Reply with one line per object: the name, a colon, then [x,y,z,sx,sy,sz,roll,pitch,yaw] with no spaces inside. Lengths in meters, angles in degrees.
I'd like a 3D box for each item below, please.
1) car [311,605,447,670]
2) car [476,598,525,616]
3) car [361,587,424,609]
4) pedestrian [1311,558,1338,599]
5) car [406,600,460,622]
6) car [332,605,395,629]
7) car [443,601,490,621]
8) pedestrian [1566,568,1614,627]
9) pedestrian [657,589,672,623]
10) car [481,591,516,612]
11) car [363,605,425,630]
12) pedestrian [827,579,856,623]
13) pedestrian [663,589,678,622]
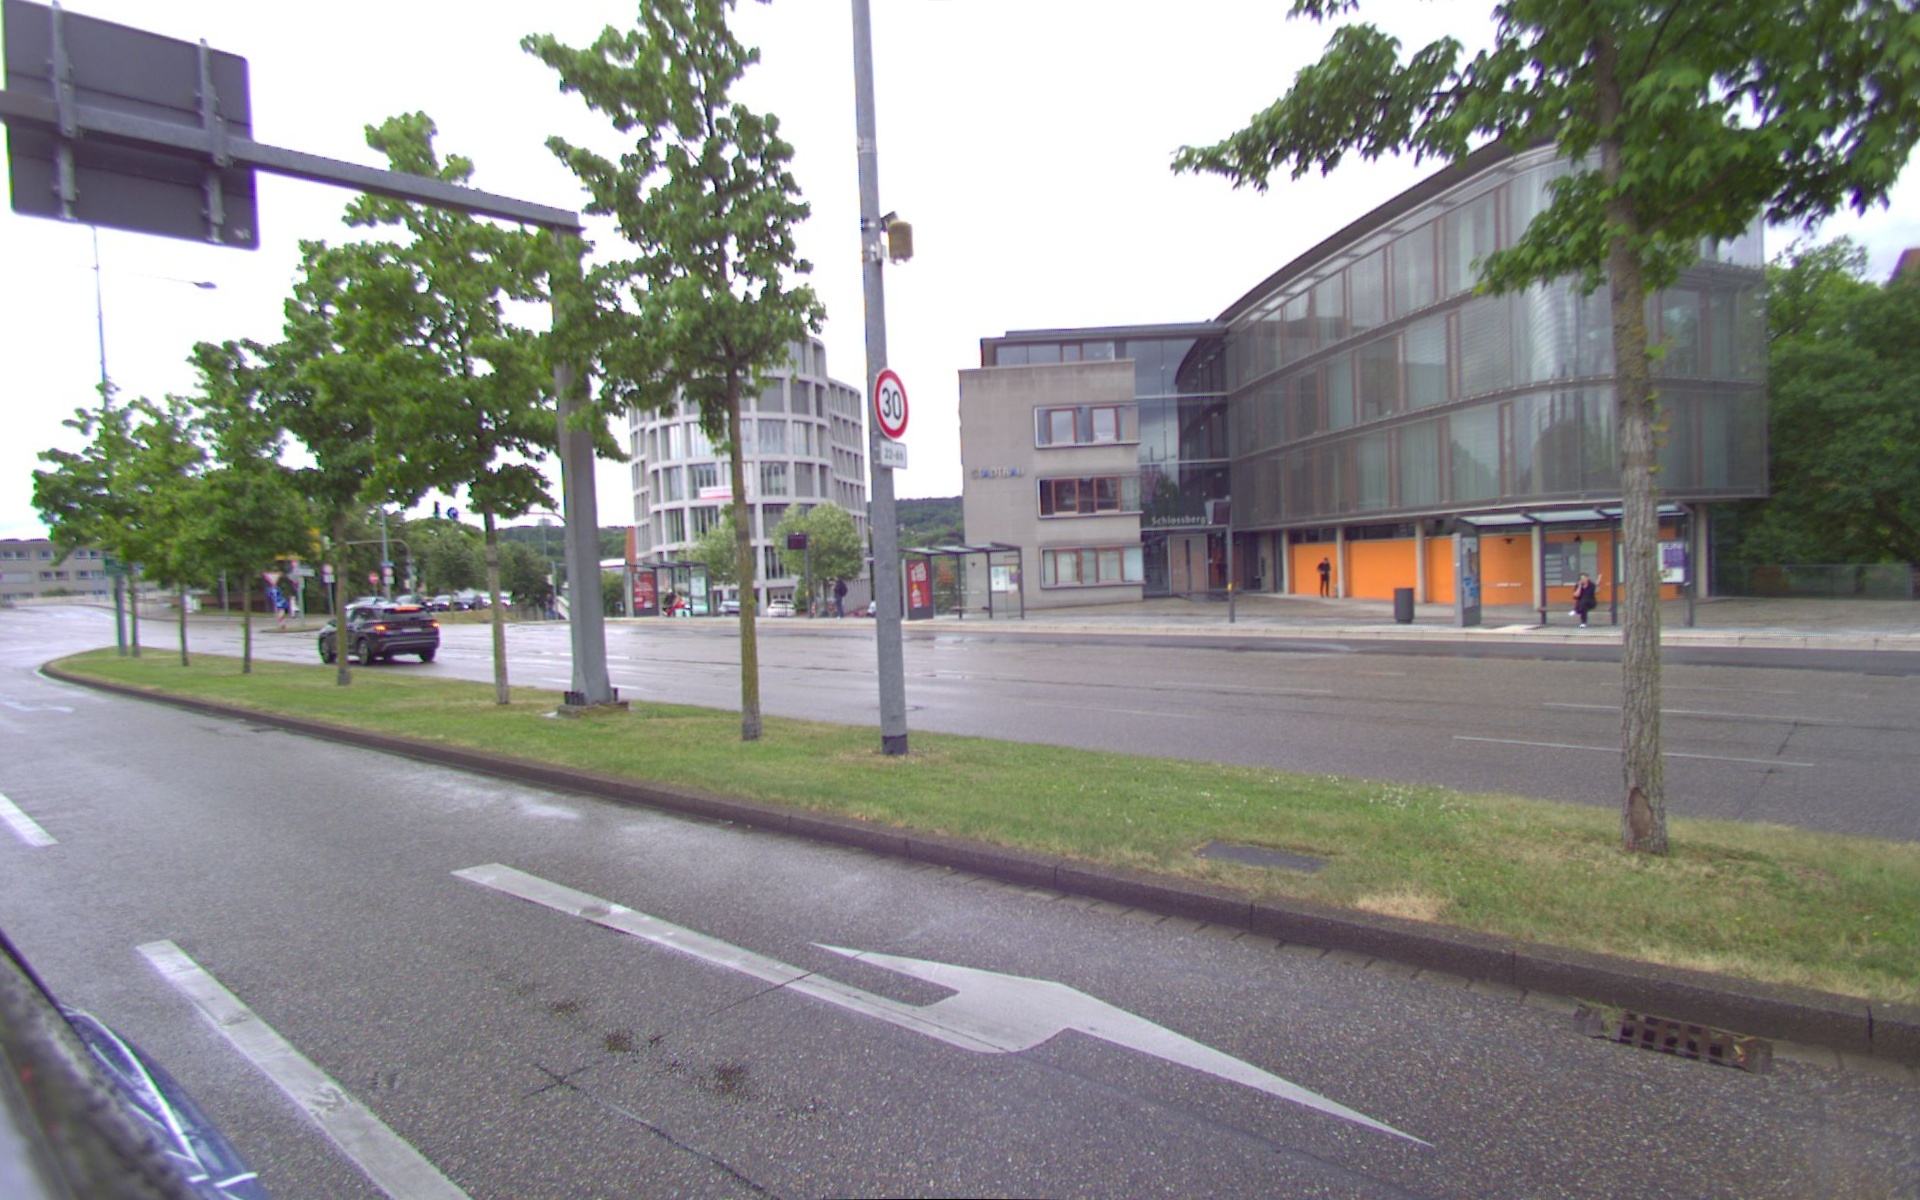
car: [-16.446,1.010,28.548,4.595,1.652,1.804,-1,1,39]
car: [-47.946,0.745,105.640,4.897,1.725,2.174,-1,0,30]
car: [-56.583,-0.184,100.927,4.963,2.029,2.311,-1,0,0]
pedestrian: [15.142,-0.877,42.059,0.697,1.666,0.852,-1,0,-6]
car: [-44.238,0.886,85.032,2.164,1.725,4.919,-1,0,-3]
car: [-46.595,1.271,79.186,2.164,1.725,4.919,-1,0,-2]
car: [-45.389,0.995,93.179,2.164,1.725,4.920,-1,0,-3]
pedestrian: [14.617,-0.051,23.482,0.790,1.334,0.793,-1,0,42]
pedestrian: [-14.717,0.299,50.339,0.501,1.647,0.497,-1,0,41]
car: [-45.673,0.181,100.168,1.969,2.029,4.005,-1,0,-6]
car: [-43.310,1.330,77.615,2.164,1.725,4.919,-1,0,-3]
pedestrian: [-4.874,0.022,41.571,0.964,1.773,0.783,-1,0,12]
pedestrian: [-14.546,0.294,50.907,0.535,1.647,0.514,-1,0,41]
